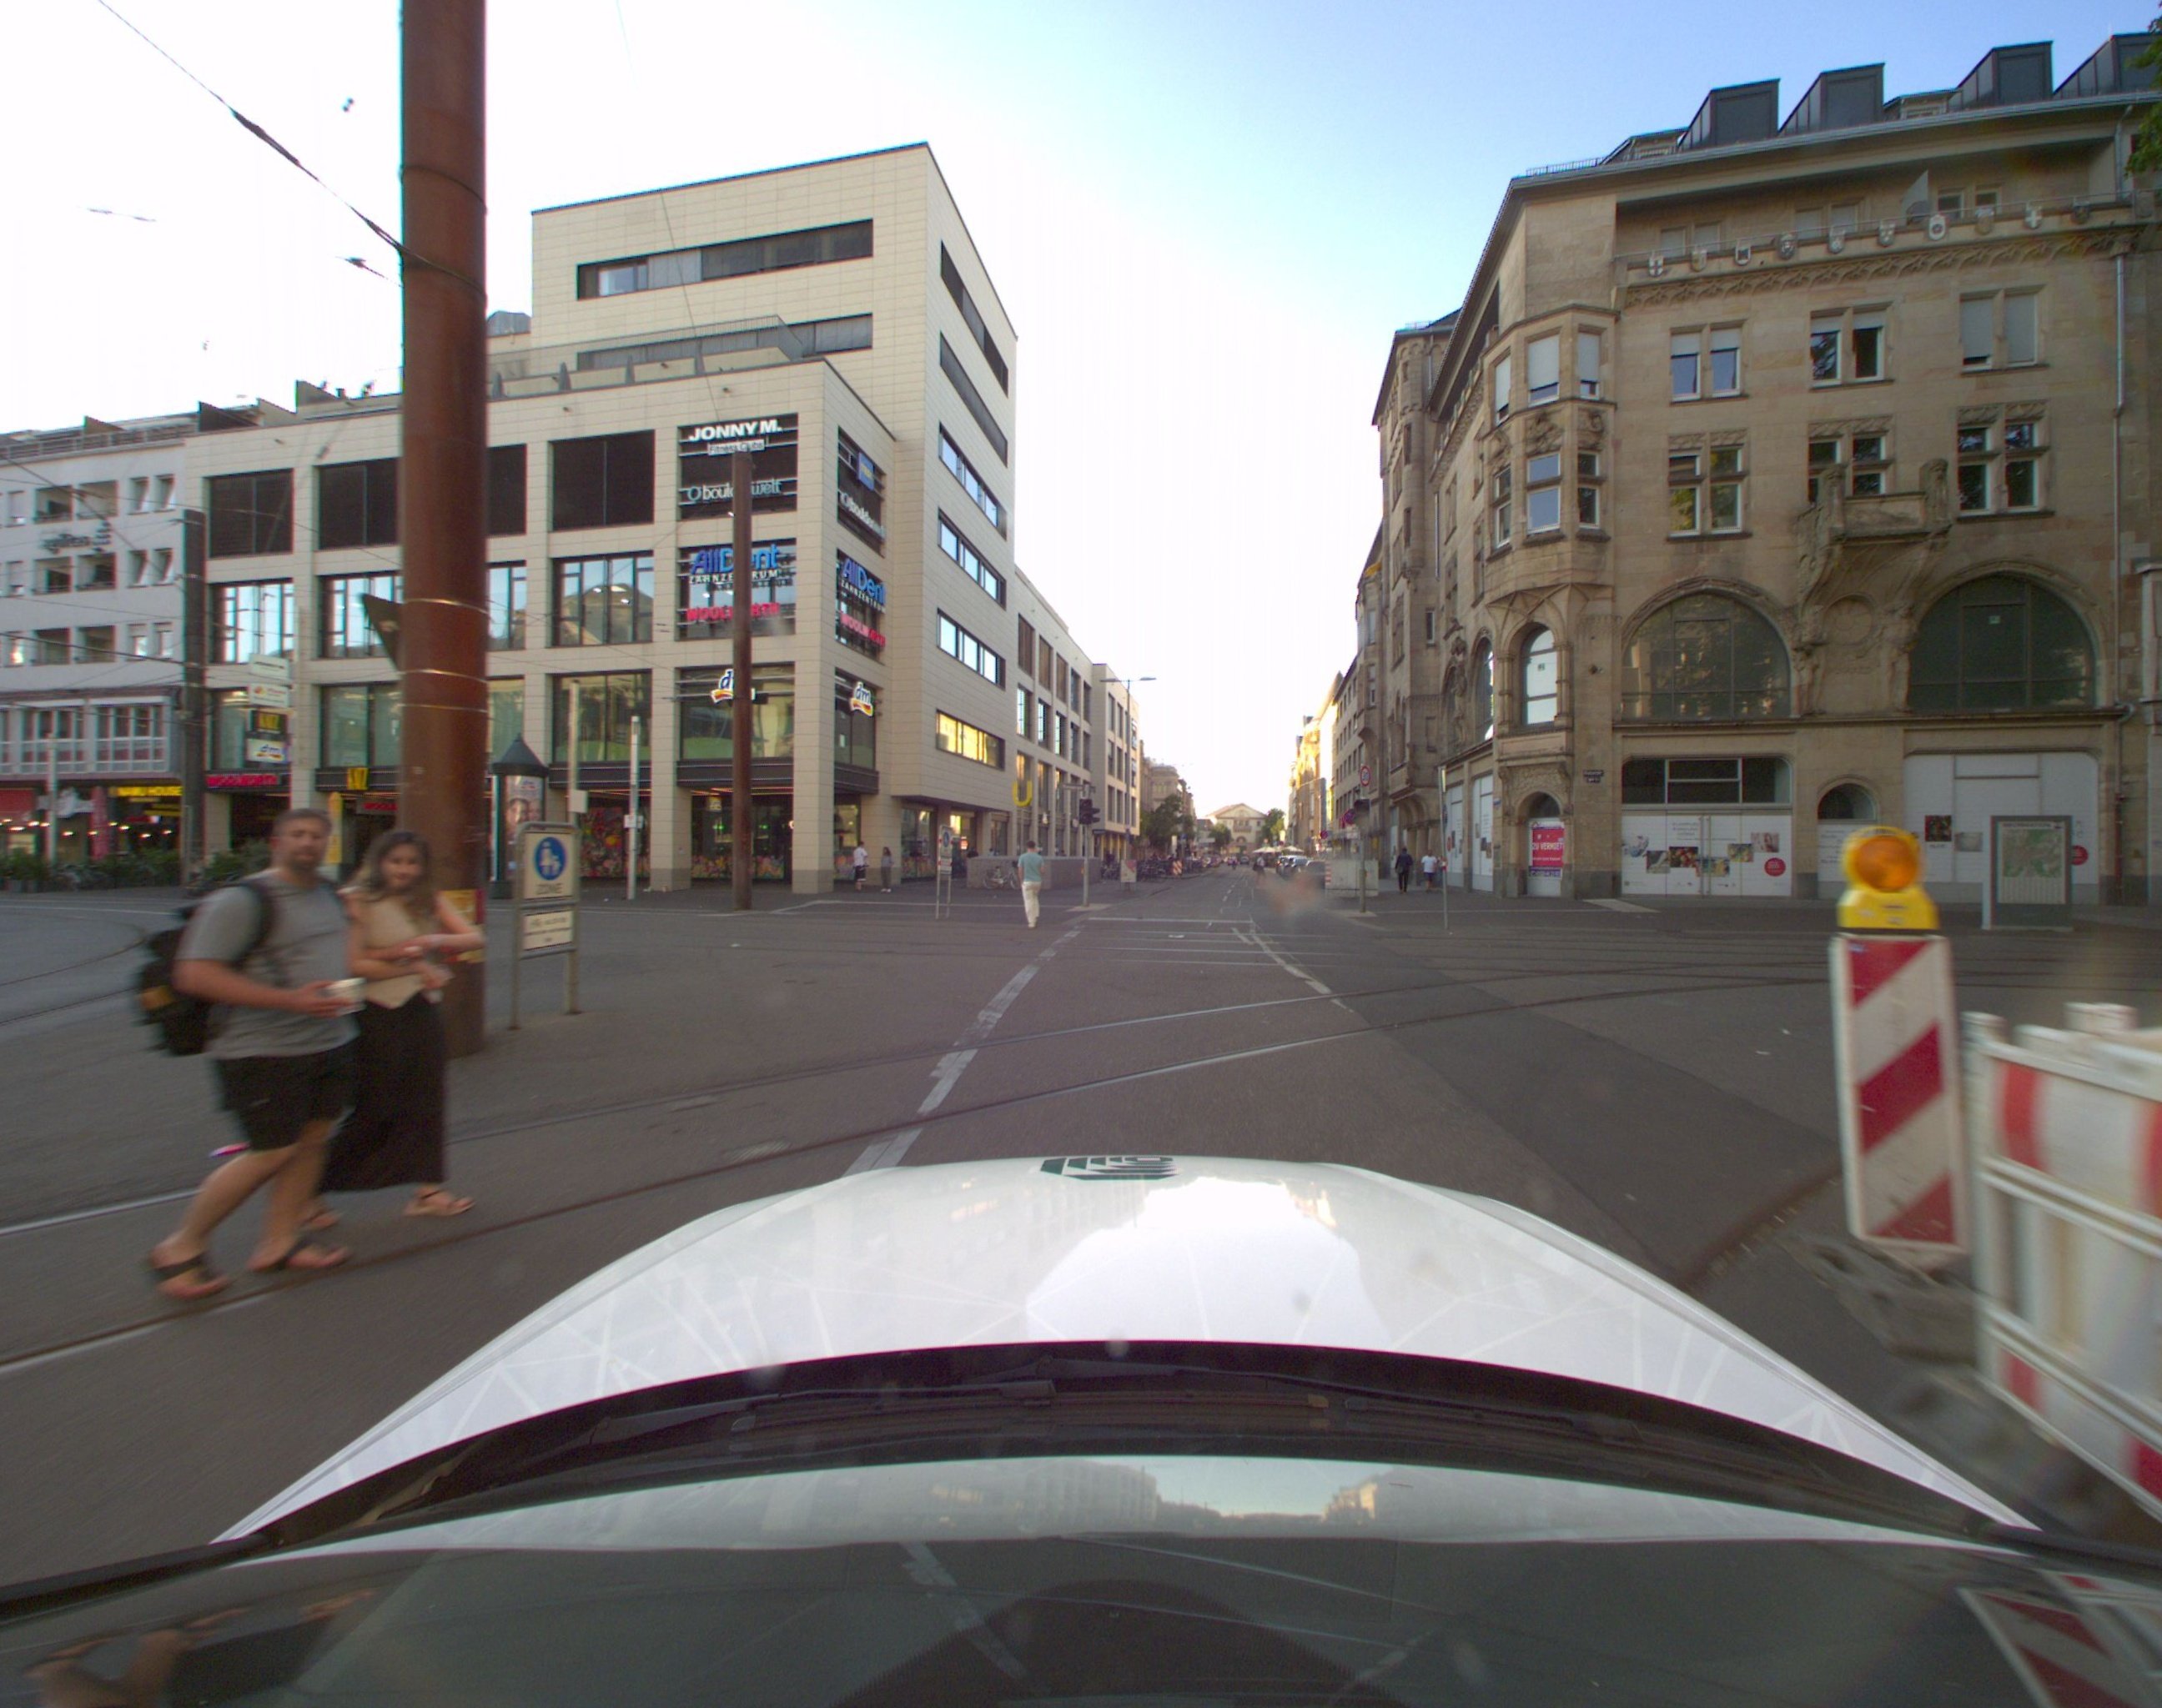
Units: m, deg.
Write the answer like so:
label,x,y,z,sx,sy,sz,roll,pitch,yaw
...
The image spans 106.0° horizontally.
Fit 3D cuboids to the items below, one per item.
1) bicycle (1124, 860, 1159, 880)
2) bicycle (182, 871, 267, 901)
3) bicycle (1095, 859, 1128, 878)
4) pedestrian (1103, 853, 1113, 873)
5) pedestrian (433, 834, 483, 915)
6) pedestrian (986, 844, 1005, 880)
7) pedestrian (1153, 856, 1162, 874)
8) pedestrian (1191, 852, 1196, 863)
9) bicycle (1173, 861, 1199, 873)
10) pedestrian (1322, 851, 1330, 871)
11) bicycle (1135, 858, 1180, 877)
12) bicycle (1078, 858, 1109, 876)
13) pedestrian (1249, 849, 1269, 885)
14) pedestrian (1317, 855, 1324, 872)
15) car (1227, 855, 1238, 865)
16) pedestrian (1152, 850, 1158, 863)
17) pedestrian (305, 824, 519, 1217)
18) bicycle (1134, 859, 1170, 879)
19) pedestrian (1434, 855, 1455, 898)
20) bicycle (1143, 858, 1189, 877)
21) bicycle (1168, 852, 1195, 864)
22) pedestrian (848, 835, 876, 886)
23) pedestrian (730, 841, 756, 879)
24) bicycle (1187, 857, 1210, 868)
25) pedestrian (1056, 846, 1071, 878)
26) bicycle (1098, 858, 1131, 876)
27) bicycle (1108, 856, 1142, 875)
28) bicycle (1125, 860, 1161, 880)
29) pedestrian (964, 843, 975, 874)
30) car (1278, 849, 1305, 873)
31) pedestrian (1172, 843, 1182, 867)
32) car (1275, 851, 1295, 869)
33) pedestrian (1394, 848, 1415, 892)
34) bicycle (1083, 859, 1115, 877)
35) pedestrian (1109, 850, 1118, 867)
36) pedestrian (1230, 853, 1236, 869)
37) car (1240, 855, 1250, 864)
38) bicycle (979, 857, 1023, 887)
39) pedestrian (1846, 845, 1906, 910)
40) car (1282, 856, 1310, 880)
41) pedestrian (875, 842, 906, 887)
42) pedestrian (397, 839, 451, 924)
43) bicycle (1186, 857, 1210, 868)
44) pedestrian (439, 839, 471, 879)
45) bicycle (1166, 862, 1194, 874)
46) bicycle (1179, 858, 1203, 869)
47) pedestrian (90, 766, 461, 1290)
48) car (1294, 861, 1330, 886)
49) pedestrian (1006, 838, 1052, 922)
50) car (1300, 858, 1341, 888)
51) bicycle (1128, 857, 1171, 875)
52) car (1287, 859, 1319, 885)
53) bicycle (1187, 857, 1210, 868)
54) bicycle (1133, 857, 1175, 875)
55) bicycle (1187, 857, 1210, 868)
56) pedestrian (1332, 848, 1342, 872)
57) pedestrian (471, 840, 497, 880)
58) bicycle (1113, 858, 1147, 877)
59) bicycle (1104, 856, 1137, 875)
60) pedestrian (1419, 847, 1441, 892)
label,x,y,z,sx,sy,sz,roll,pitch,yaw
bicycle,3.548,0.963,47.895,1.972,1.121,0.555,1,0,-17
bicycle,-28.924,1.071,27.540,1.937,0.986,0.445,1,0,-43
bicycle,1.955,0.927,52.006,1.972,1.121,0.555,1,0,-17
pedestrian,2.133,0.707,63.881,0.675,1.621,0.575,0,0,11
pedestrian,-13.274,0.422,17.351,0.525,1.674,0.653,0,0,13
pedestrian,-4.238,0.395,40.497,0.777,1.751,0.602,1,0,9
pedestrian,6.505,0.953,69.465,0.746,1.529,0.486,0,0,11
pedestrian,15.153,0.517,109.679,0.546,1.486,0.567,0,0,10
bicycle,8.774,1.099,68.095,2.133,0.953,0.643,0,0,13
pedestrian,22.902,0.658,76.110,0.640,1.800,0.673,0,0,10
bicycle,5.158,0.878,54.864,2.891,1.255,0.800,0,0,-15
bicycle,0.836,0.884,55.332,1.972,1.121,0.555,1,0,-17
pedestrian,8.523,0.635,39.069,0.830,1.720,0.683,0,0,4
pedestrian,24.576,0.930,83.569,0.640,1.746,0.673,0,0,10
car,29.356,1.146,157.287,1.980,1.903,4.013,2,0,11
pedestrian,8.737,0.304,96.416,0.675,1.621,0.575,0,0,11
pedestrian,-2.904,0.674,3.582,0.570,1.593,0.446,0,0,-12
bicycle,4.041,0.859,46.308,1.972,1.121,0.555,1,0,-17
pedestrian,14.139,0.866,31.683,0.621,1.690,0.628,0,0,10
bicycle,5.609,0.895,53.663,2.891,1.255,0.800,0,0,-15
bicycle,8.262,0.349,67.149,2.133,0.953,0.643,0,0,13
pedestrian,-8.030,0.240,29.890,0.568,1.854,0.821,1,0,24
pedestrian,-13.829,0.253,33.329,0.568,1.526,0.795,1,0,24
bicycle,11.379,0.785,78.809,2.133,1.029,0.643,0,0,13
pedestrian,-0.929,0.434,44.144,0.677,1.680,0.602,1,0,9
bicycle,2.105,0.817,50.994,1.972,1.121,0.555,1,0,-17
bicycle,2.688,0.686,49.615,1.972,1.121,0.555,1,0,-17
bicycle,3.599,0.908,47.178,1.972,1.121,0.555,1,0,-17
pedestrian,-5.469,0.198,40.107,0.387,1.515,0.507,0,0,11
car,16.517,0.534,64.036,1.787,1.768,4.412,-1,0,12
pedestrian,7.254,0.084,61.501,0.654,1.823,0.528,0,0,1
car,19.826,0.609,79.146,1.668,1.666,3.685,-1,0,11
pedestrian,12.403,0.606,31.195,0.621,1.690,0.673,0,0,10
bicycle,1.193,0.902,53.233,1.972,1.121,0.555,1,0,-17
pedestrian,3.086,0.403,76.654,0.726,1.621,0.663,0,0,11
pedestrian,16.959,0.765,90.682,0.594,1.823,0.454,0,0,17
car,35.596,1.120,176.816,1.980,1.903,4.013,2,0,11
bicycle,-3.248,0.727,33.156,1.684,1.121,0.452,2,0,14
pedestrian,20.238,0.587,20.749,0.814,1.611,0.715,1,0,11
car,15.147,0.949,57.564,1.668,1.613,4.041,-1,0,12
pedestrian,-7.223,0.378,30.919,0.759,1.659,0.821,1,0,26
pedestrian,-13.152,0.535,16.317,0.525,1.674,0.653,0,0,13
bicycle,10.976,0.785,76.299,2.133,1.029,0.643,0,0,13
pedestrian,-26.908,0.218,35.035,0.808,1.680,0.686,1,0,13
bicycle,7.908,1.130,65.195,2.133,0.953,0.643,0,0,13
bicycle,9.994,0.839,74.076,2.133,1.029,0.643,0,0,13
pedestrian,-2.895,0.565,3.014,0.744,1.700,0.608,0,0,-10
car,13.103,1.067,46.401,1.668,1.291,4.060,-1,0,12
pedestrian,-1.111,0.553,17.617,0.862,1.761,0.768,2,0,3
car,12.051,0.920,41.120,1.668,1.424,3.685,1,0,11
bicycle,4.814,0.859,57.173,2.891,1.255,0.800,0,0,-15
car,14.027,1.139,51.538,1.668,1.547,3.685,-1,0,11
bicycle,11.124,0.786,77.057,2.133,1.029,0.643,0,0,13
bicycle,5.270,0.866,58.588,2.891,1.255,0.800,0,0,-15
bicycle,11.283,0.786,78.085,2.133,1.029,0.643,0,0,13
pedestrian,18.435,0.447,58.671,0.640,1.690,0.673,0,0,10
pedestrian,-26.156,0.258,35.674,0.669,1.680,0.577,1,0,13
bicycle,2.946,0.801,48.906,1.972,1.121,0.555,1,0,-17
bicycle,2.433,0.723,50.337,1.972,1.121,0.555,1,0,-17
pedestrian,13.412,0.594,31.290,0.621,1.690,0.673,0,0,10
